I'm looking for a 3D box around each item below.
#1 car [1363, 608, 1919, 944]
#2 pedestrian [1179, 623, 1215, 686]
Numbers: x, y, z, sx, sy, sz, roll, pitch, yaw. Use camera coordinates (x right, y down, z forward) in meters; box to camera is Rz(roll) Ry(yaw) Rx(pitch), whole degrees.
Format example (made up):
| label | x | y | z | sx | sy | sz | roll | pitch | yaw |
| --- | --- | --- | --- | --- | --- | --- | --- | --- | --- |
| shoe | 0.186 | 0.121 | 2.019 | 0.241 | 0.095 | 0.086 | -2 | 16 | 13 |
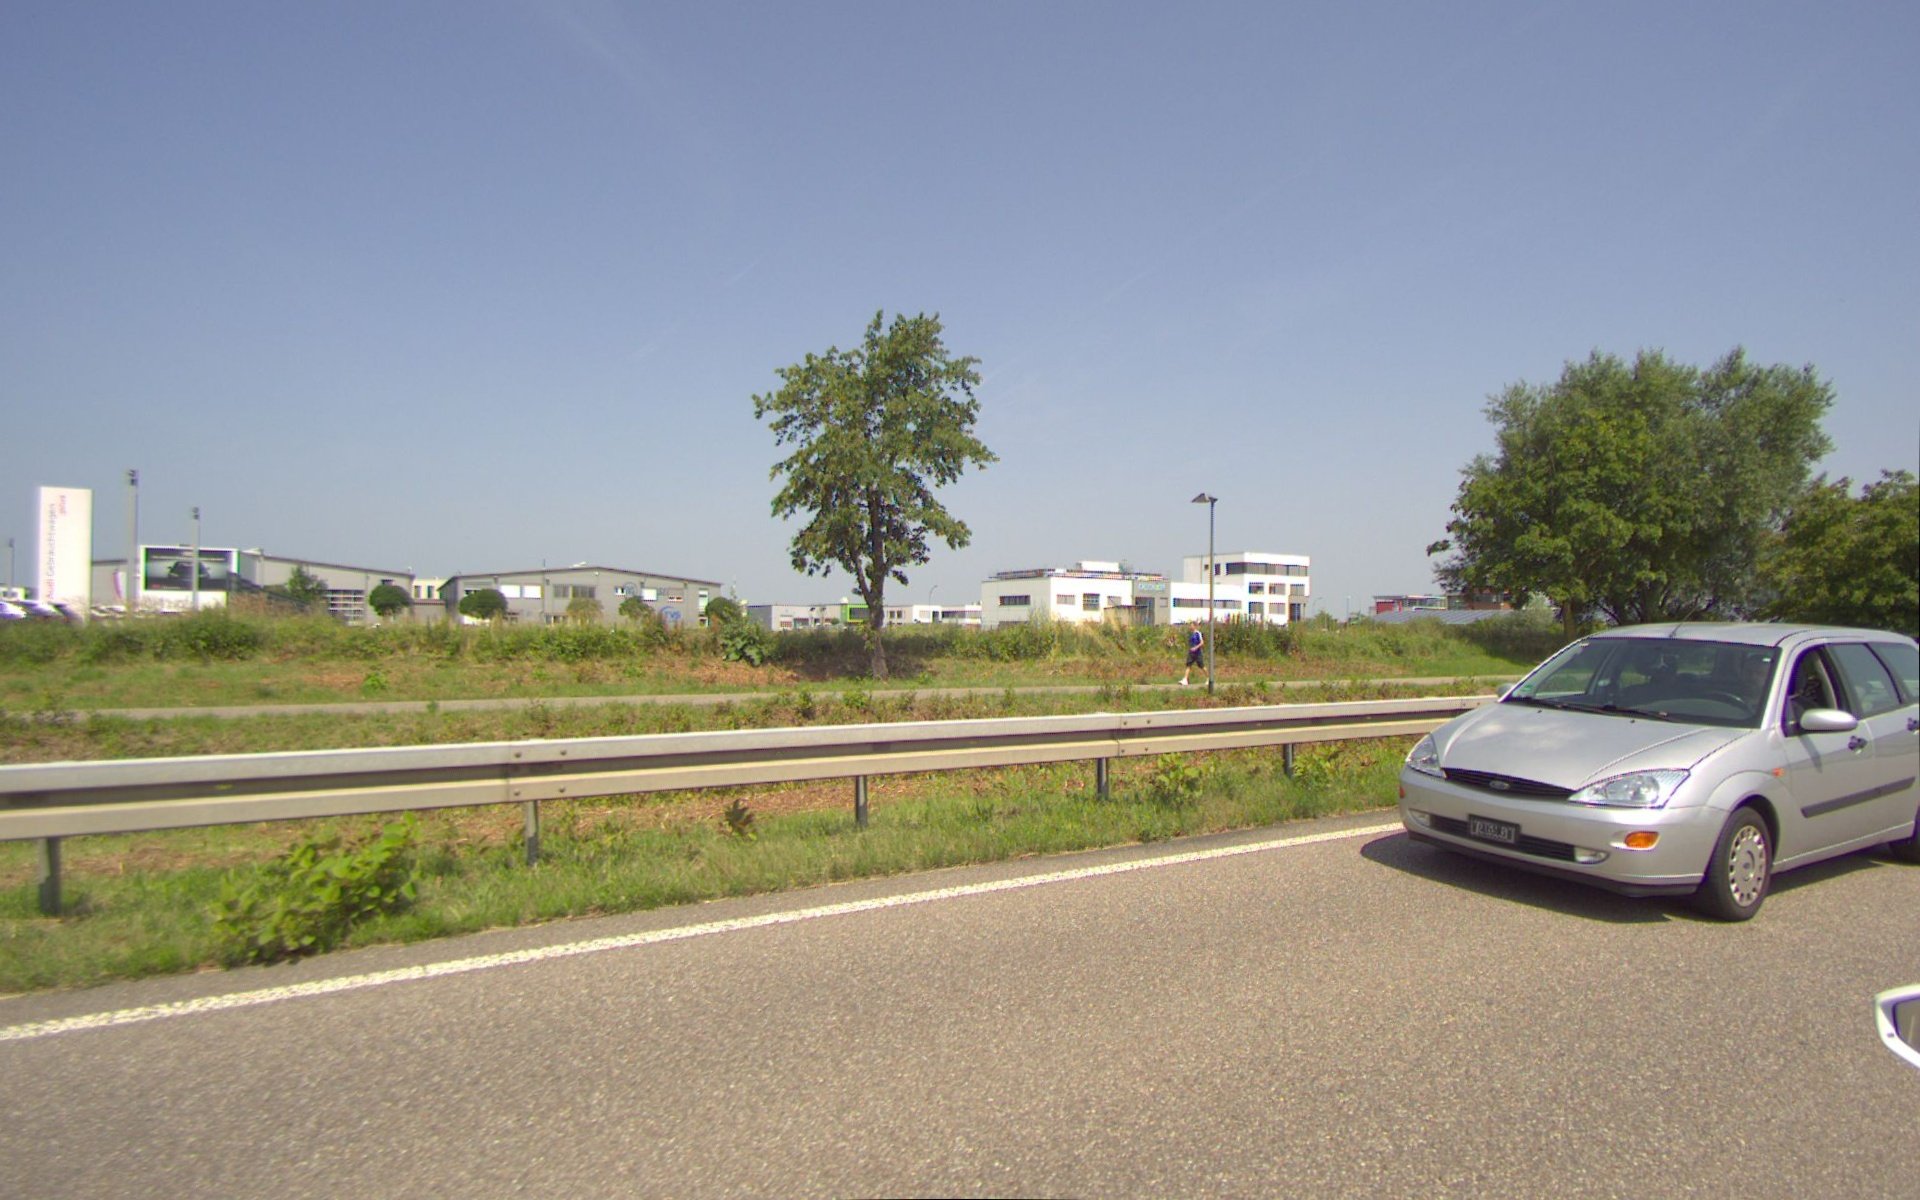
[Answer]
| label | x | y | z | sx | sy | sz | roll | pitch | yaw |
| --- | --- | --- | --- | --- | --- | --- | --- | --- | --- |
| car | 4.841 | 0.857 | 6.459 | 4.631 | 1.494 | 1.690 | 2 | 0 | -30 |
| pedestrian | 6.845 | 1.572 | 29.027 | 0.810 | 1.773 | 0.577 | 1 | -2 | -25 |
